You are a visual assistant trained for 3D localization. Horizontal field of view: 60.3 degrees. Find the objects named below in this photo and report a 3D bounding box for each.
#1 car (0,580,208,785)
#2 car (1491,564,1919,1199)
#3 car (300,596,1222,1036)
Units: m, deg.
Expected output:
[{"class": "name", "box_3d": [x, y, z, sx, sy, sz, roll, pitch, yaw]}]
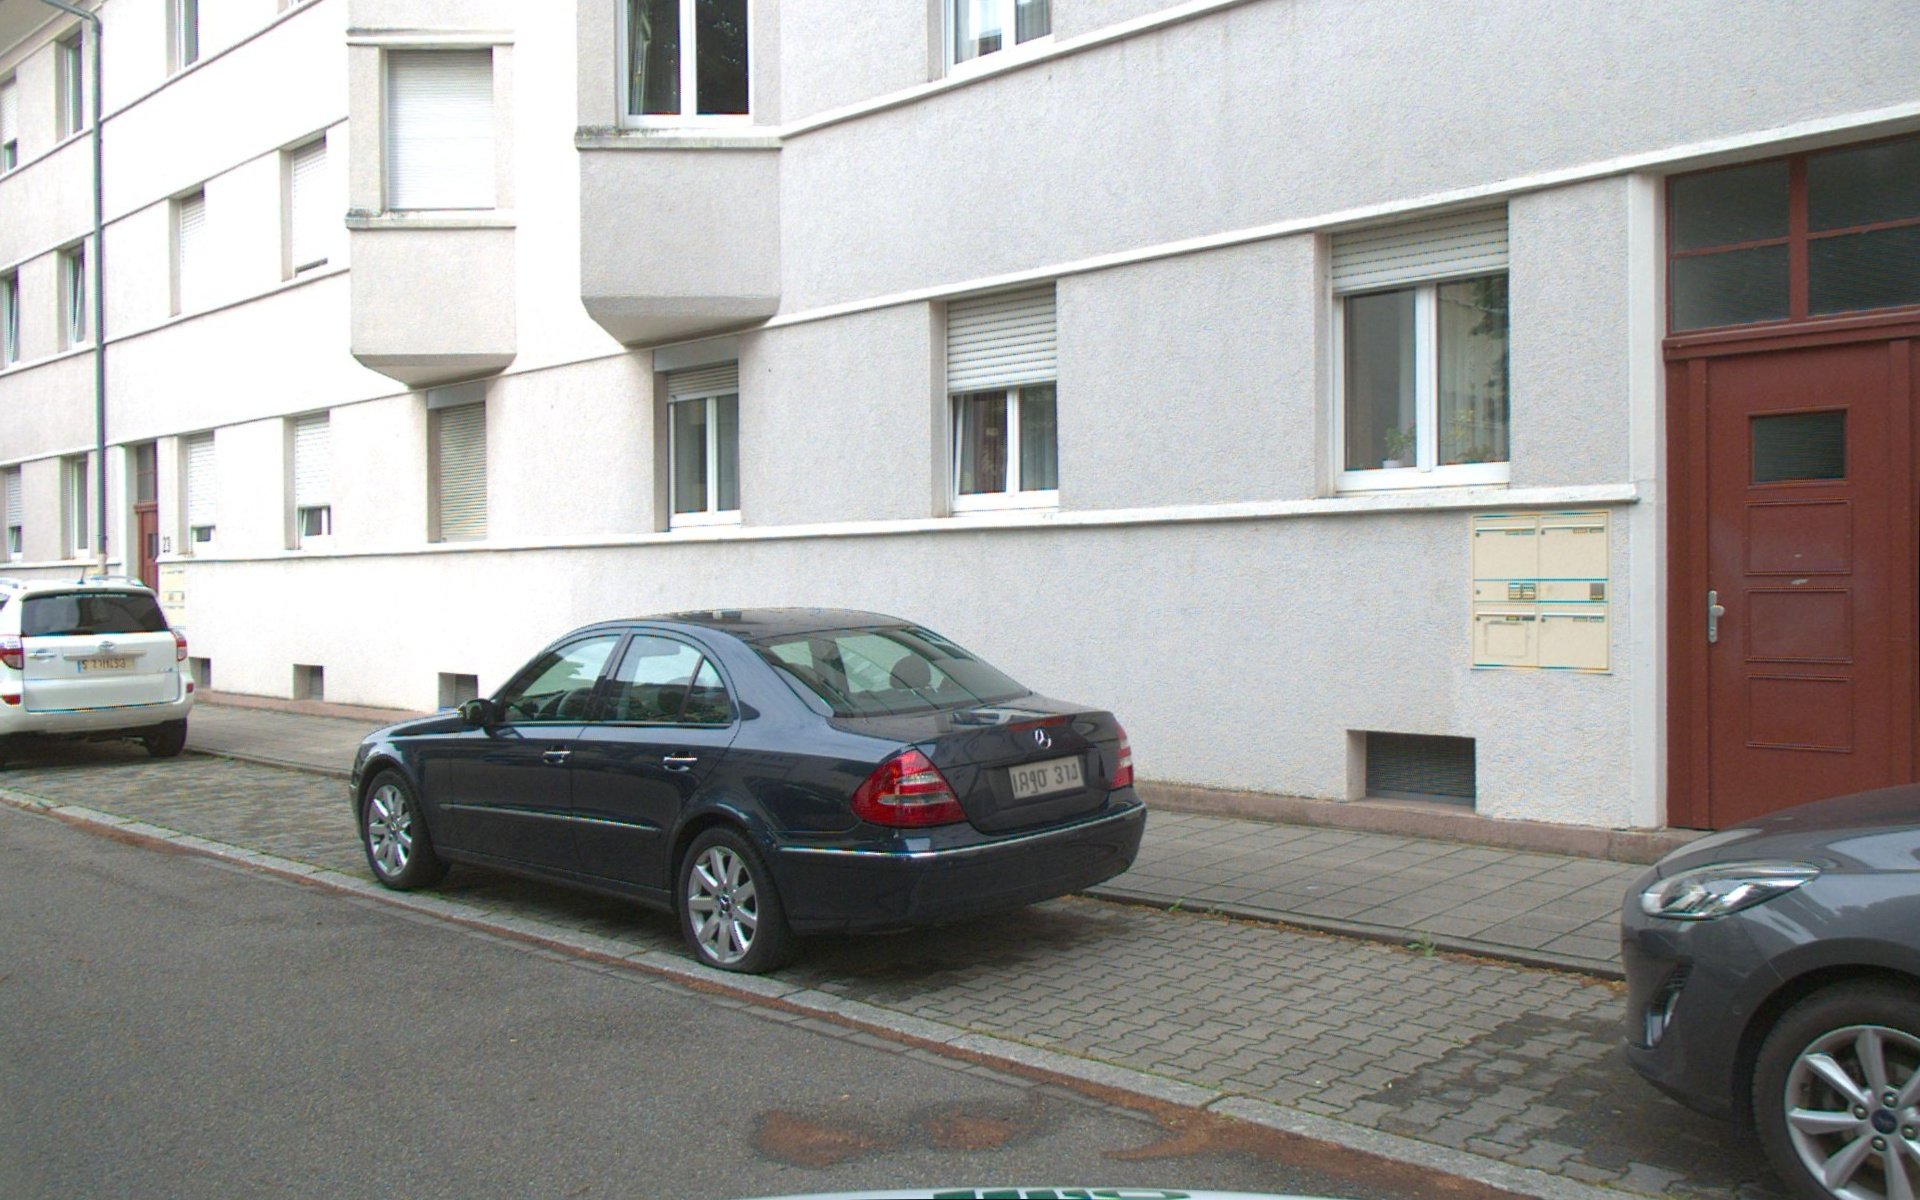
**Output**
[{"class": "car", "box_3d": [-9.187, 0.683, 16.143, 4.213, 1.703, 1.838, 0, 2, 42]}, {"class": "car", "box_3d": [3.456, 0.701, 3.664, 4.008, 1.551, 1.752, 1, 2, 43]}, {"class": "car", "box_3d": [-1.247, 0.745, 8.046, 4.863, 1.445, 1.740, 1, 2, 43]}]
